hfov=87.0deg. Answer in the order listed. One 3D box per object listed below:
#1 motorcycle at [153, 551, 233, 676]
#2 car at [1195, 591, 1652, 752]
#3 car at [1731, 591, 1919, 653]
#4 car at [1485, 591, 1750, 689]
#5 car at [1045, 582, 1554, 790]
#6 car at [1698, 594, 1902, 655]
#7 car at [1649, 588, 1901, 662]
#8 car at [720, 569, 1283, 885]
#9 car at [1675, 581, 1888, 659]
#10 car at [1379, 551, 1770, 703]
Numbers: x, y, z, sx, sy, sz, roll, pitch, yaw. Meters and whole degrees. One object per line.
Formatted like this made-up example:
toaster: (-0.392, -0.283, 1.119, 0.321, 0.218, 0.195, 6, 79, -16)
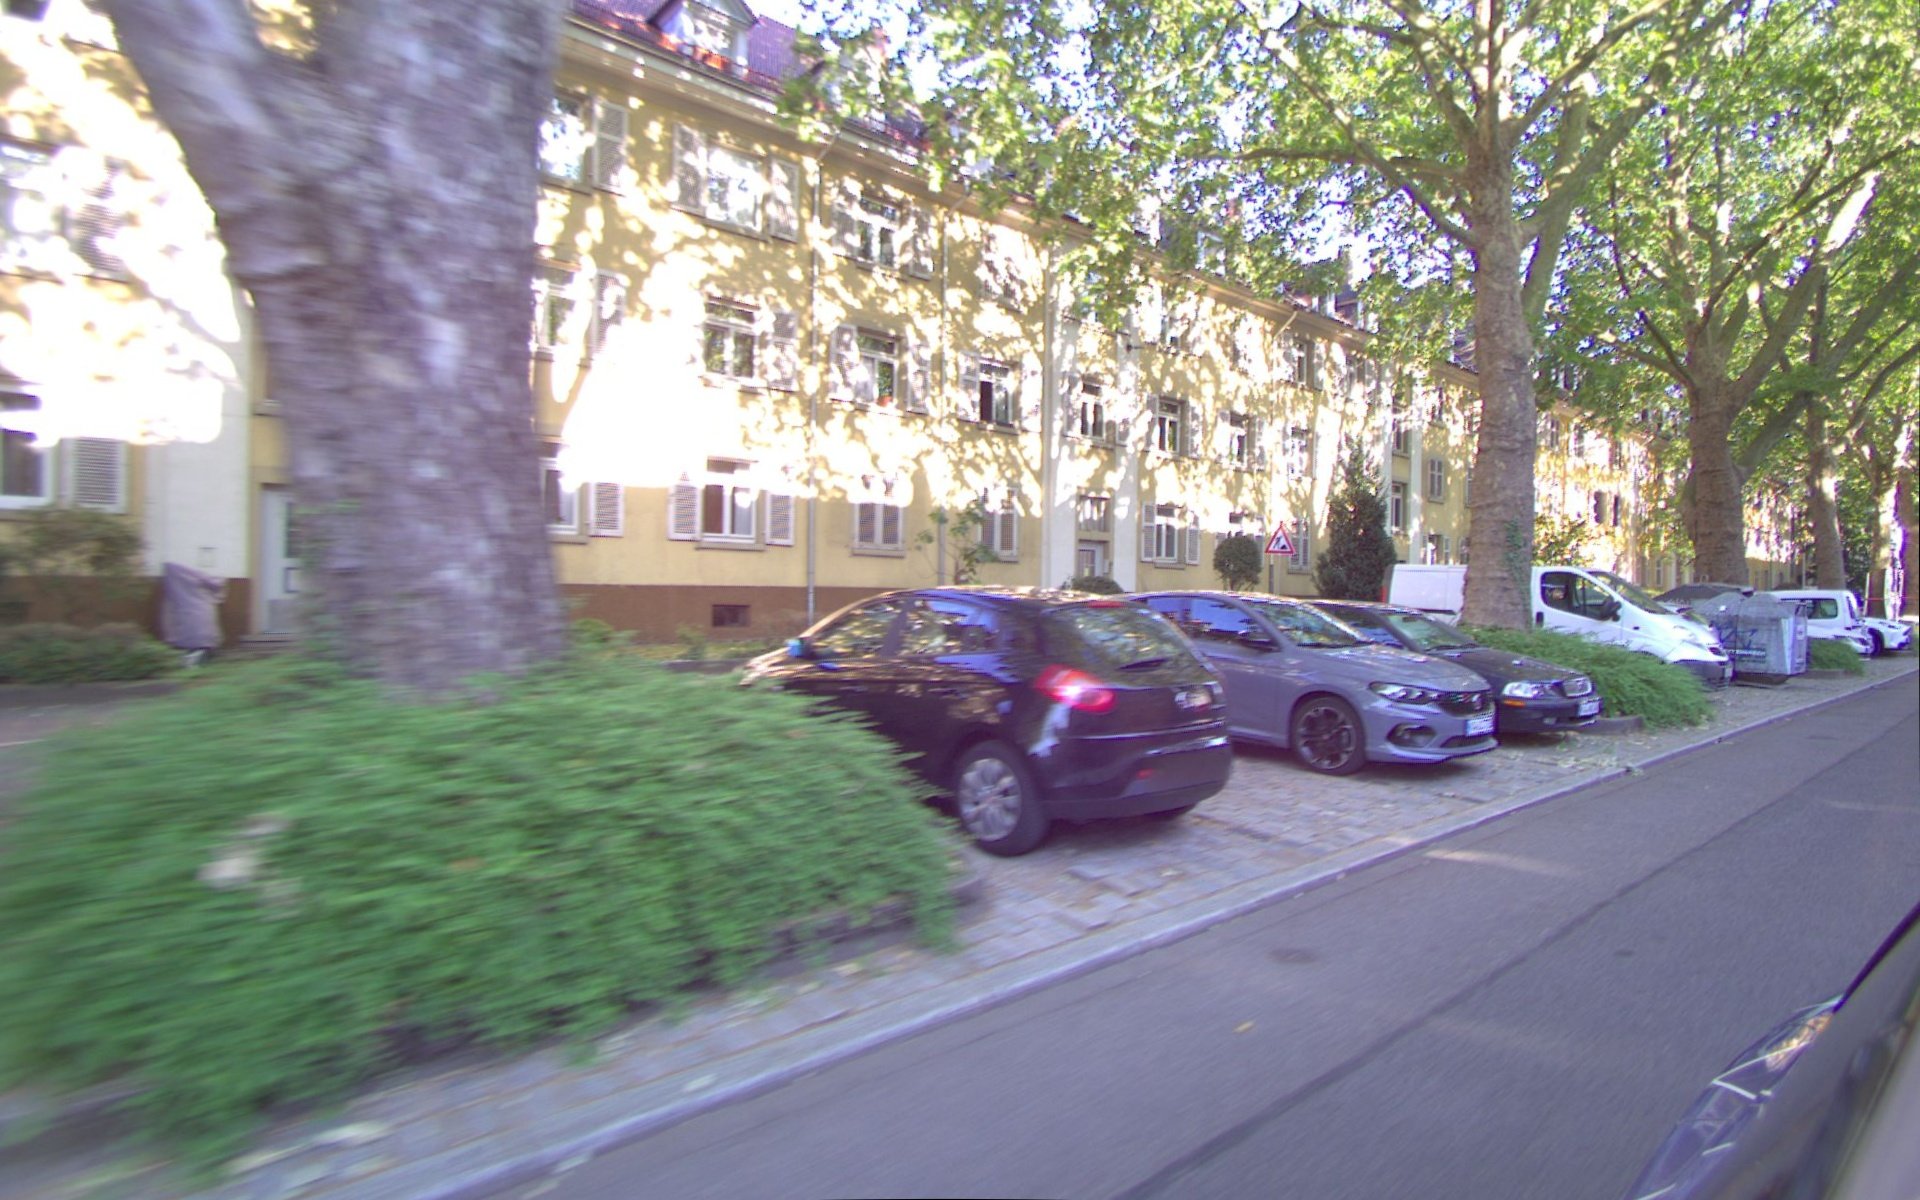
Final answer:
motorcycle: (-9.506, 0.127, 12.521, 0.612, 1.377, 1.806, 0, 4, -43)
car: (4.959, 0.628, 11.448, 1.770, 1.397, 4.410, 0, 1, -36)
car: (24.215, 0.538, 28.171, 1.883, 1.540, 4.095, -1, 2, -41)
car: (11.212, 0.598, 17.407, 1.645, 1.464, 3.530, 0, 1, -43)
car: (2.982, 0.599, 9.650, 1.864, 1.502, 4.255, 0, 1, -40)
car: (22.270, 0.592, 26.947, 1.817, 1.451, 3.856, 0, 1, -36)
car: (19.307, 0.526, 24.173, 1.767, 1.561, 4.384, 1, 0, -36)
car: (0.029, 0.576, 6.908, 1.680, 1.528, 3.845, 0, 1, -40)
car: (20.781, 0.433, 25.724, 1.881, 1.794, 3.856, 0, 1, -36)
car: (9.346, 0.300, 15.748, 2.030, 1.988, 4.843, 0, 1, -42)
